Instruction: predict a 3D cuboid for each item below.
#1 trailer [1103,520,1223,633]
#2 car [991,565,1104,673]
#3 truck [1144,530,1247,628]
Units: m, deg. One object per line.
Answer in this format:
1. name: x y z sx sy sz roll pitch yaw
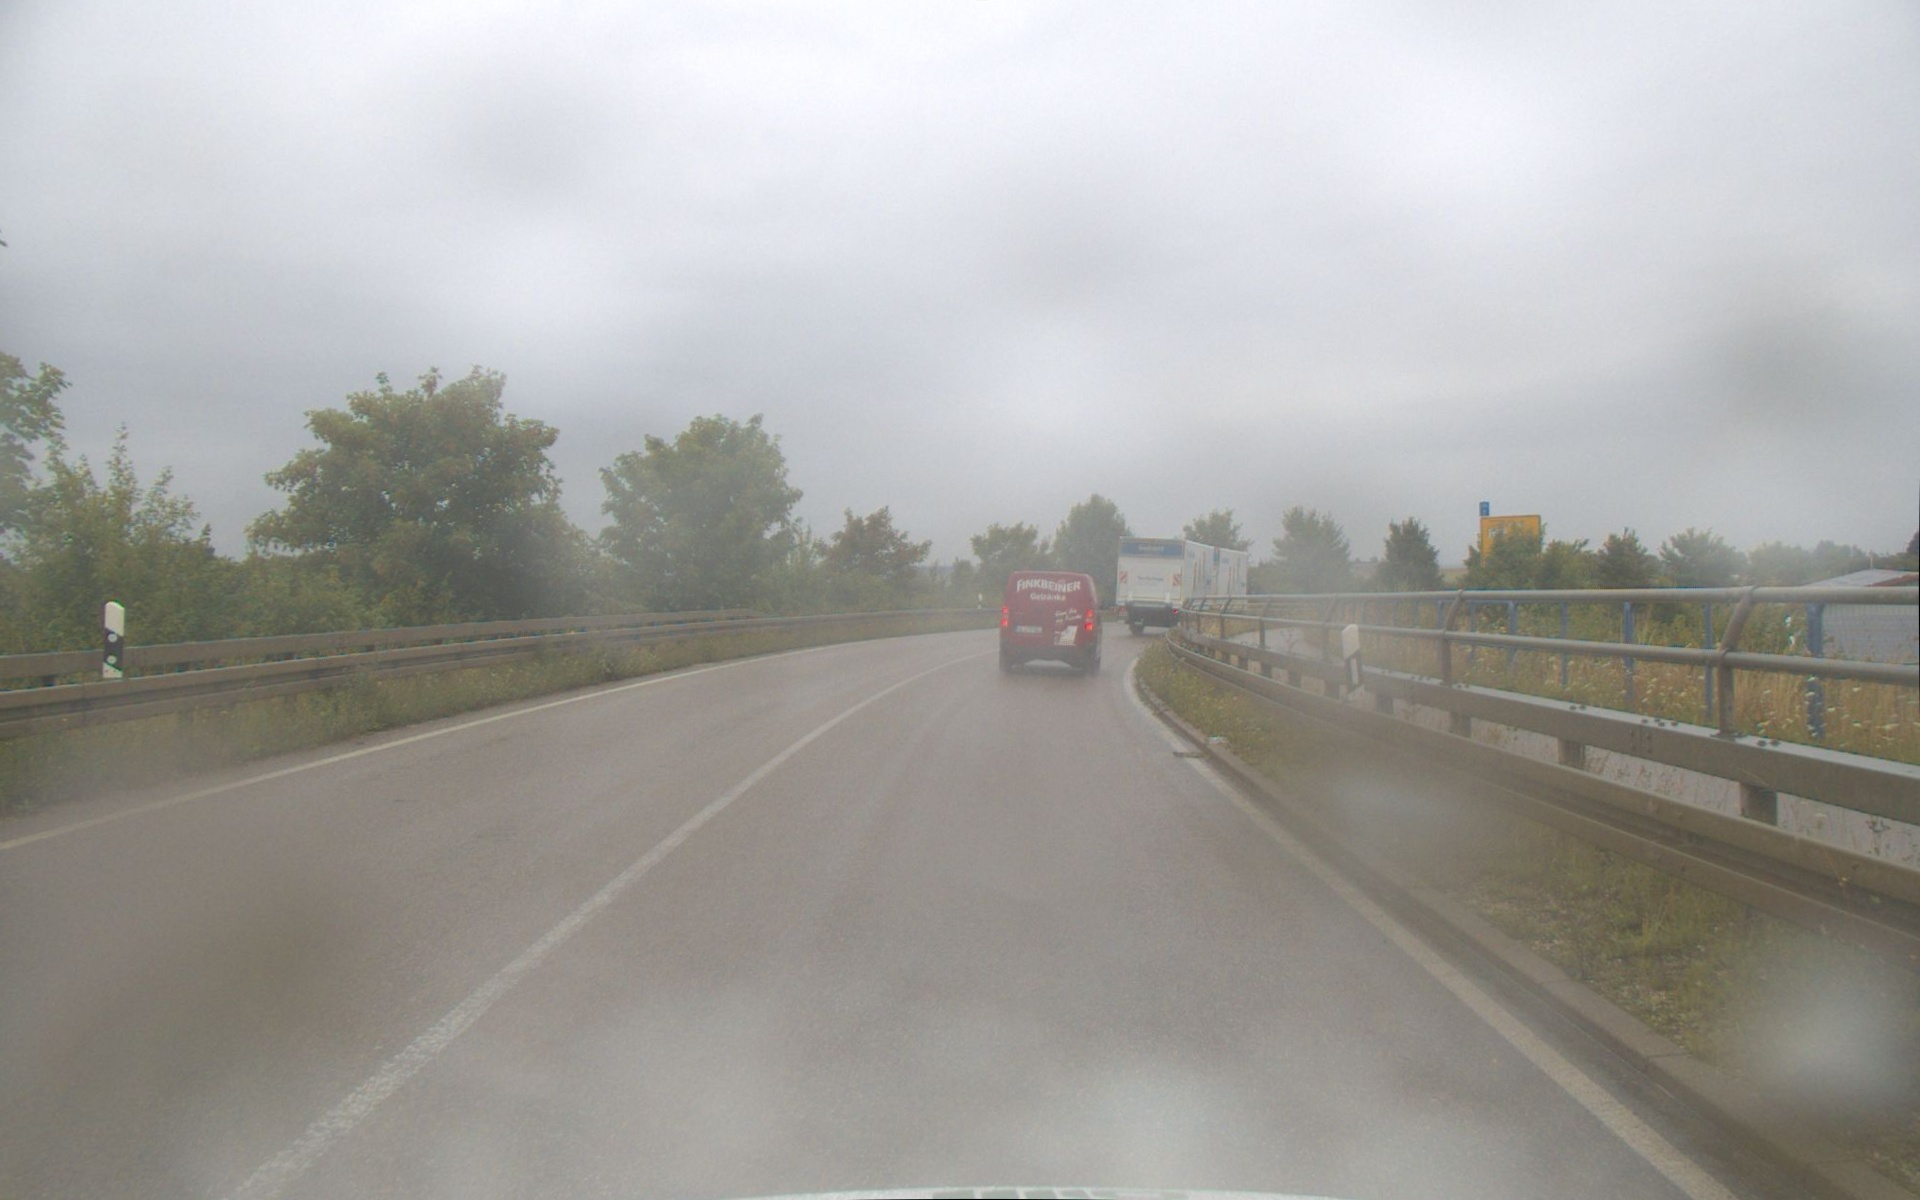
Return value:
1. trailer: 8.061 -0.878 64.617 3.134 3.990 8.745 2 1 16
2. car: 1.778 0.309 32.432 1.951 1.959 4.146 1 1 6
3. truck: 10.522 -0.890 73.048 3.134 3.990 8.745 2 1 16
